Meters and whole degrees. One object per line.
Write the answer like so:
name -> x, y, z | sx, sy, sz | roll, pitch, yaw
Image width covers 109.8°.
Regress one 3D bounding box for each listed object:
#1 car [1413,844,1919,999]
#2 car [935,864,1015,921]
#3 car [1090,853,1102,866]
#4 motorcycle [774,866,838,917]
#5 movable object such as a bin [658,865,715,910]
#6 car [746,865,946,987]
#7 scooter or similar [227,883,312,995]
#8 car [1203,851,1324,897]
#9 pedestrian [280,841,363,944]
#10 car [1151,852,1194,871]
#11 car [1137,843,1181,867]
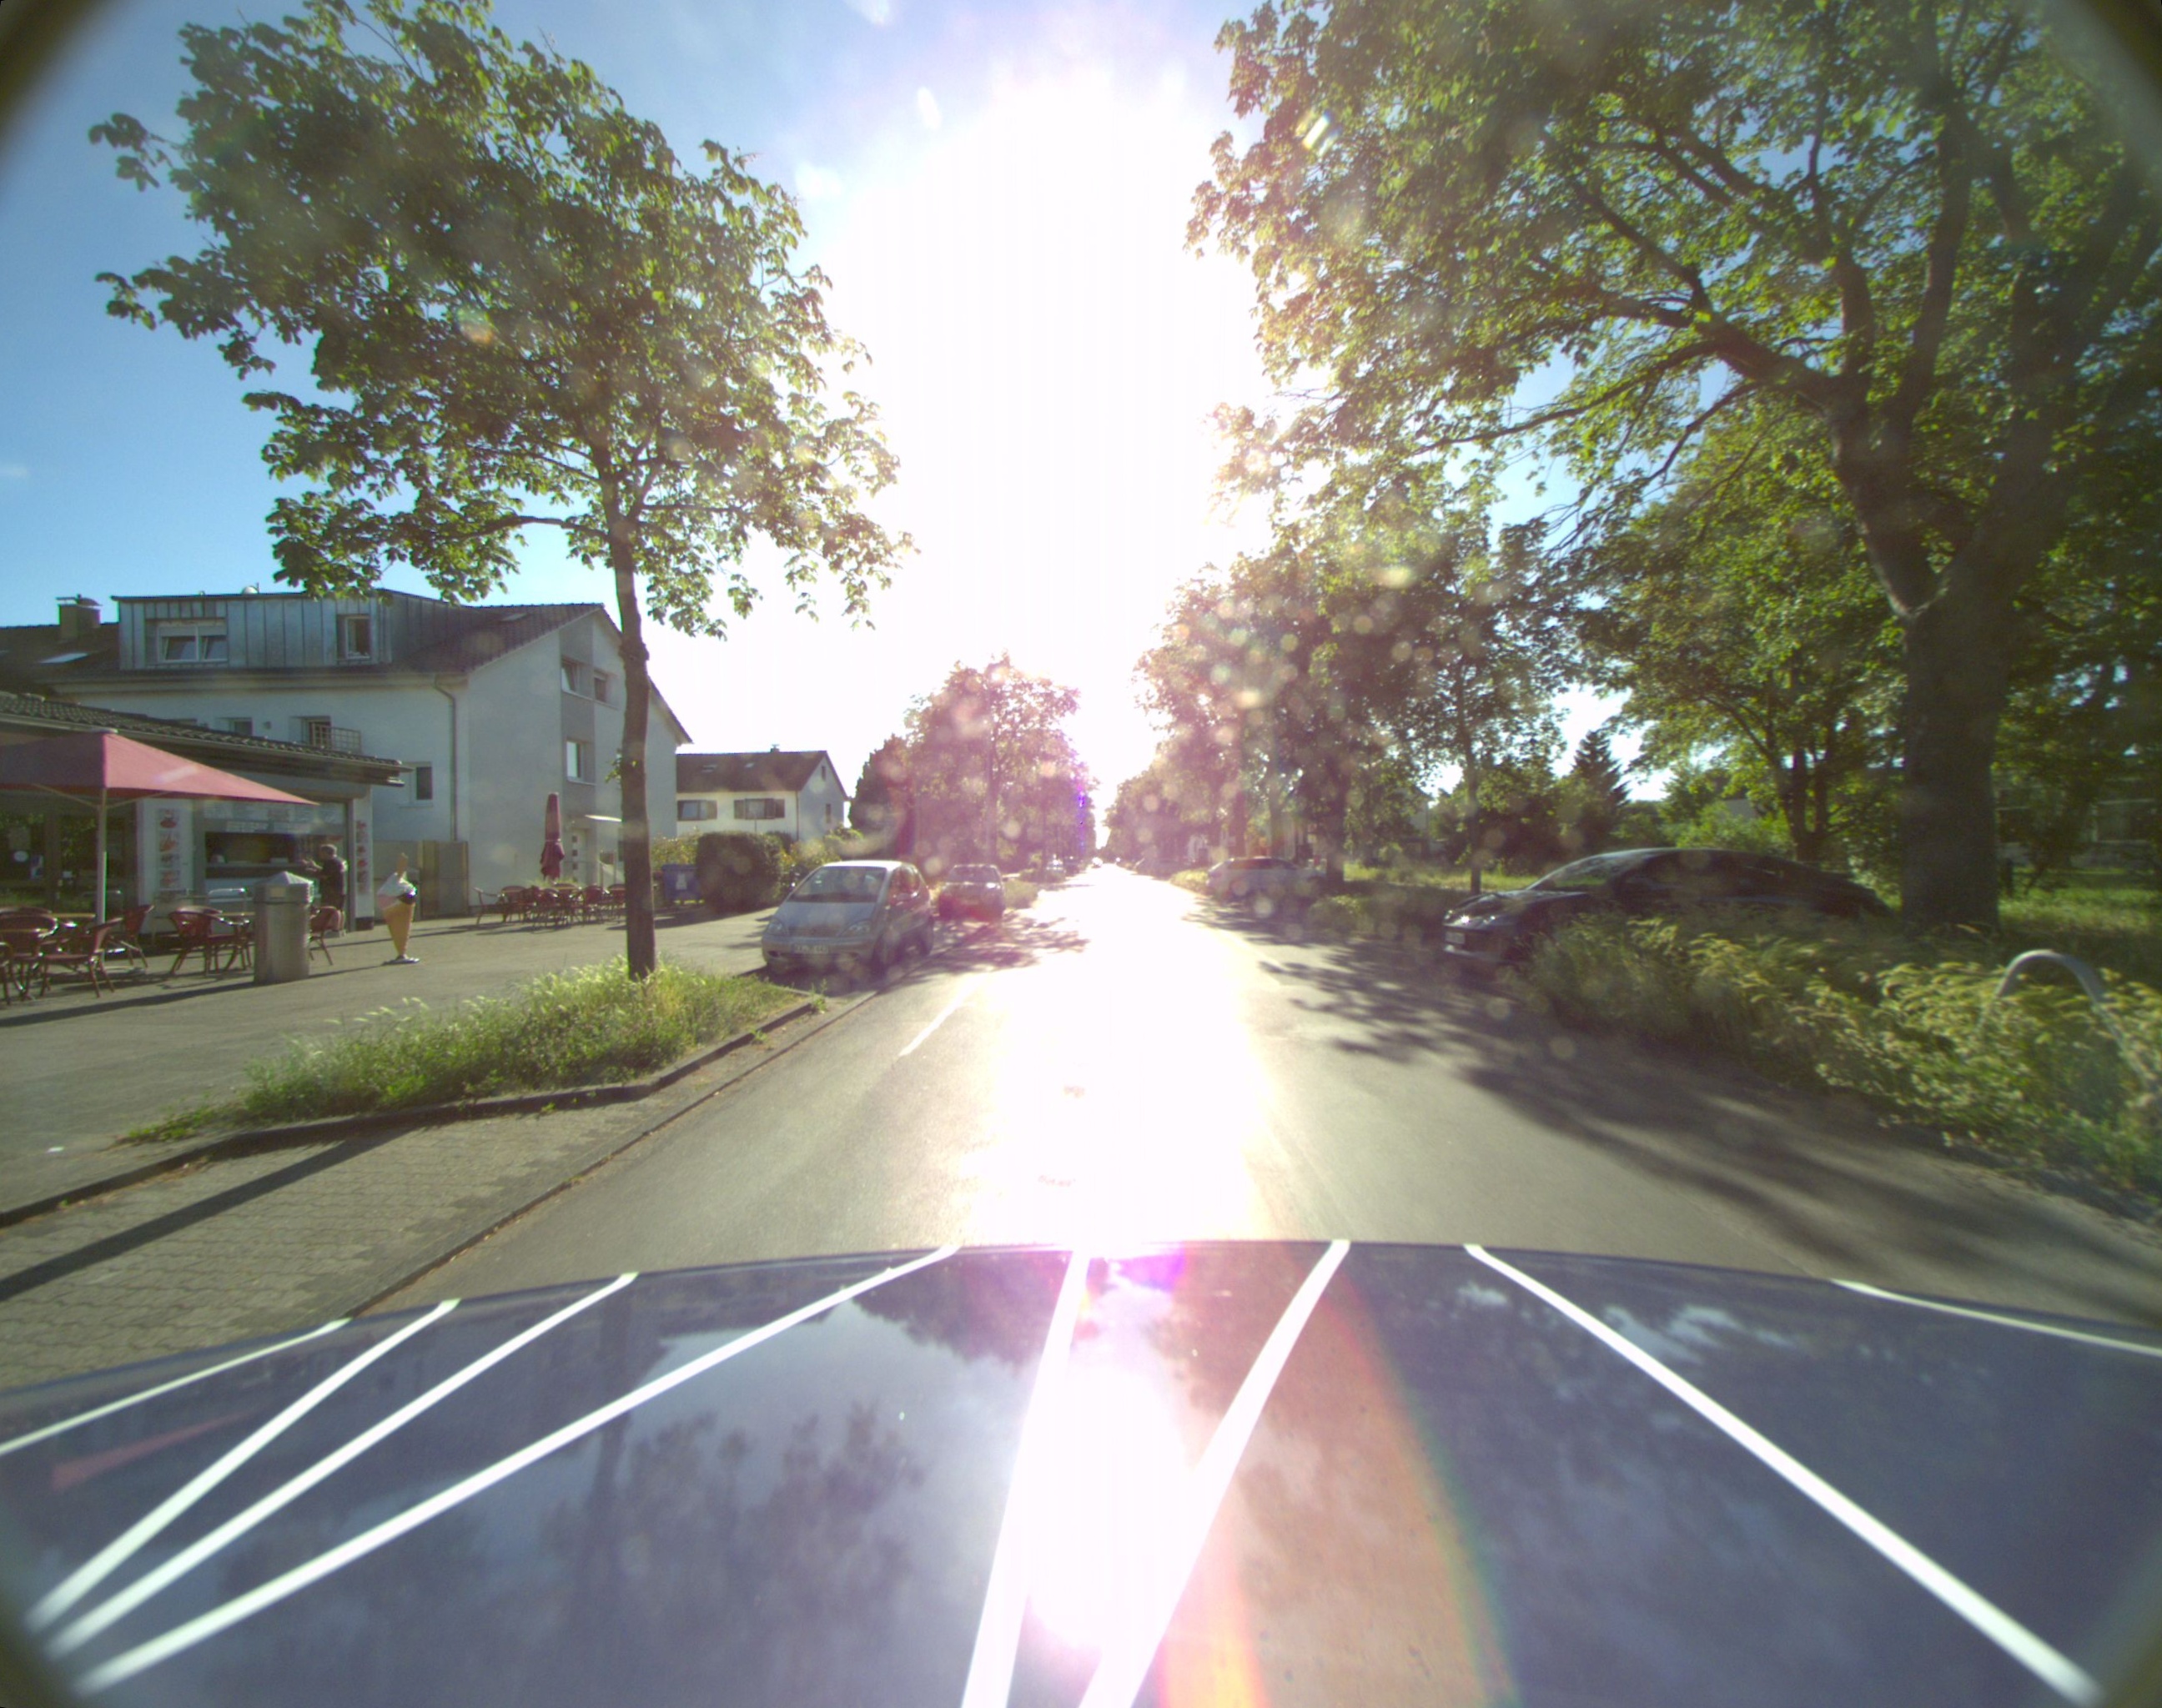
car -> 6.860, 0.751, 9.371 | 4.615, 1.552, 2.000 | -2, 0, 2
car -> -3.001, 1.054, 22.216 | 1.733, 1.473, 3.858 | 0, 0, 1
car -> 2.530, 0.958, 127.178 | 1.998, 2.002, 4.000 | -2, 1, 2
motorcycle -> -7.586, 0.994, 21.070 | 0.838, 1.247, 2.345 | -2, 1, 1
movable object such as a bin -> -11.531, 0.964, 22.254 | 1.172, 1.286, 0.928 | 0, 1, 1
car -> -3.492, 0.987, 12.091 | 1.732, 1.568, 3.859 | 0, 0, 4
scooter or similar -> -9.711, 0.998, 9.107 | 0.503, 1.288, 0.461 | 0, 1, -2
car -> 6.976, 0.739, 29.392 | 4.203, 1.552, 2.000 | -2, 0, 2
pedestrian -> -13.847, 0.679, 13.868 | 0.672, 1.798, 0.735 | -2, 1, 2
car -> 9.086, 0.738, 75.540 | 3.997, 1.740, 1.890 | -2, 1, 1
car -> 9.307, 0.132, 90.644 | 5.121, 2.597, 2.125 | -2, 1, 4
